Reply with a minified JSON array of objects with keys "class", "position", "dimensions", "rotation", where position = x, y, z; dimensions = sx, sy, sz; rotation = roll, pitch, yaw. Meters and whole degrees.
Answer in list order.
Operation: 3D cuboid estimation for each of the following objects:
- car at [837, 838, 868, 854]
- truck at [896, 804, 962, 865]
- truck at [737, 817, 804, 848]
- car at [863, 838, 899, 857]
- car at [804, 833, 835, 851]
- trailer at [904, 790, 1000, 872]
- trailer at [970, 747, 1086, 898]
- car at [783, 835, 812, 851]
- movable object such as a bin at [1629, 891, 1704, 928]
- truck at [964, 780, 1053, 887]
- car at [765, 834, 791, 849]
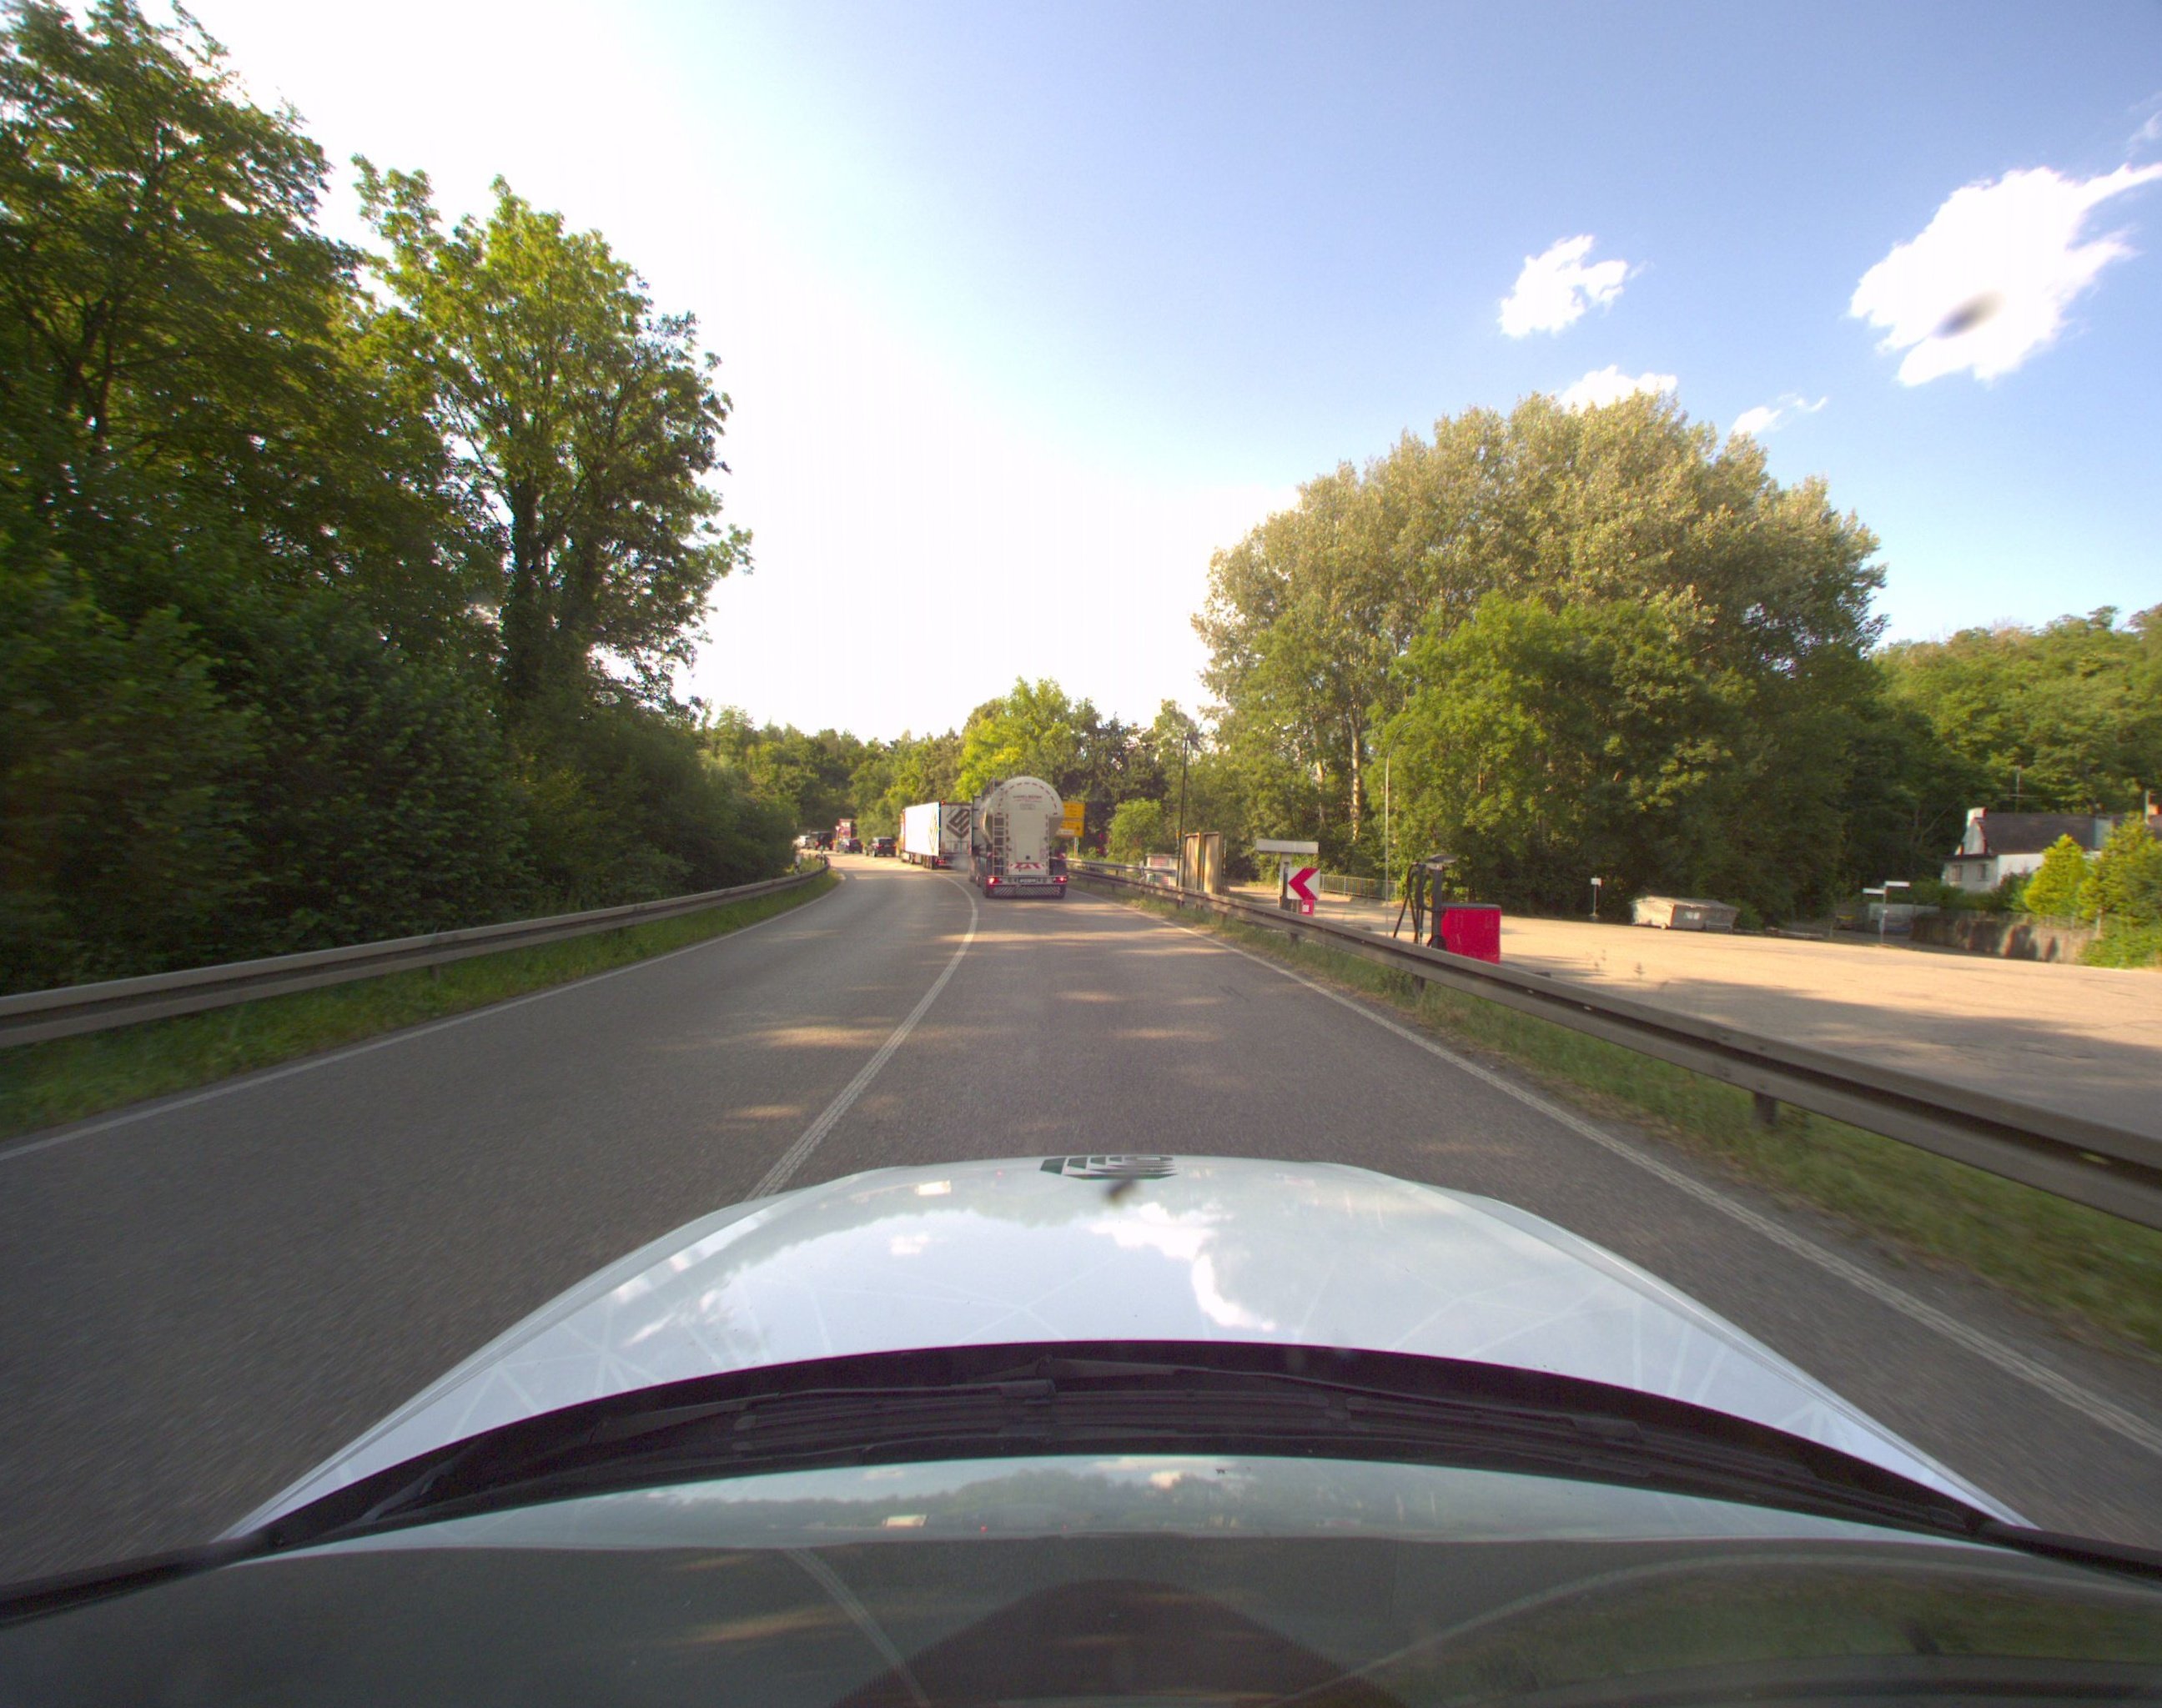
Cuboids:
[{"class":"car","position":[-22.567,-0.799,80.310],"dimensions":[1.881,1.564,3.959],"rotation":[-1,2,-33]},{"class":"truck","position":[-11.092,-1.351,59.007],"dimensions":[3.463,4.086,6.445],"rotation":[2,0,-21]},{"class":"truck","position":[-50.685,-3.467,133.265],"dimensions":[2.983,4.584,10.304],"rotation":[3,0,33]},{"class":"car","position":[-17.711,-0.583,72.051],"dimensions":[1.880,1.628,3.961],"rotation":[2,0,-32]},{"class":"car","position":[-28.231,-1.301,87.806],"dimensions":[1.972,1.851,3.956],"rotation":[-1,2,-37]},{"class":"trailer","position":[-8.636,-1.366,52.472],"dimensions":[3.558,4.513,12.896],"rotation":[2,0,-20]},{"class":"trailer","position":[-2.243,-0.980,29.565],"dimensions":[2.887,4.454,9.571],"rotation":[3,0,-11]},{"class":"car","position":[-32.666,-1.247,93.813],"dimensions":[1.882,1.683,3.956],"rotation":[3,0,-37]},{"class":"movable object such as a bin","position":[26.636,2.493,37.136],"dimensions":[1.266,1.420,2.548],"rotation":[5,0,-11]},{"class":"truck","position":[-3.261,-0.820,34.908],"dimensions":[2.827,4.034,5.868],"rotation":[3,0,-13]},{"class":"car","position":[-36.922,-1.559,99.131],"dimensions":[1.882,1.595,3.956],"rotation":[3,0,-37]}]
